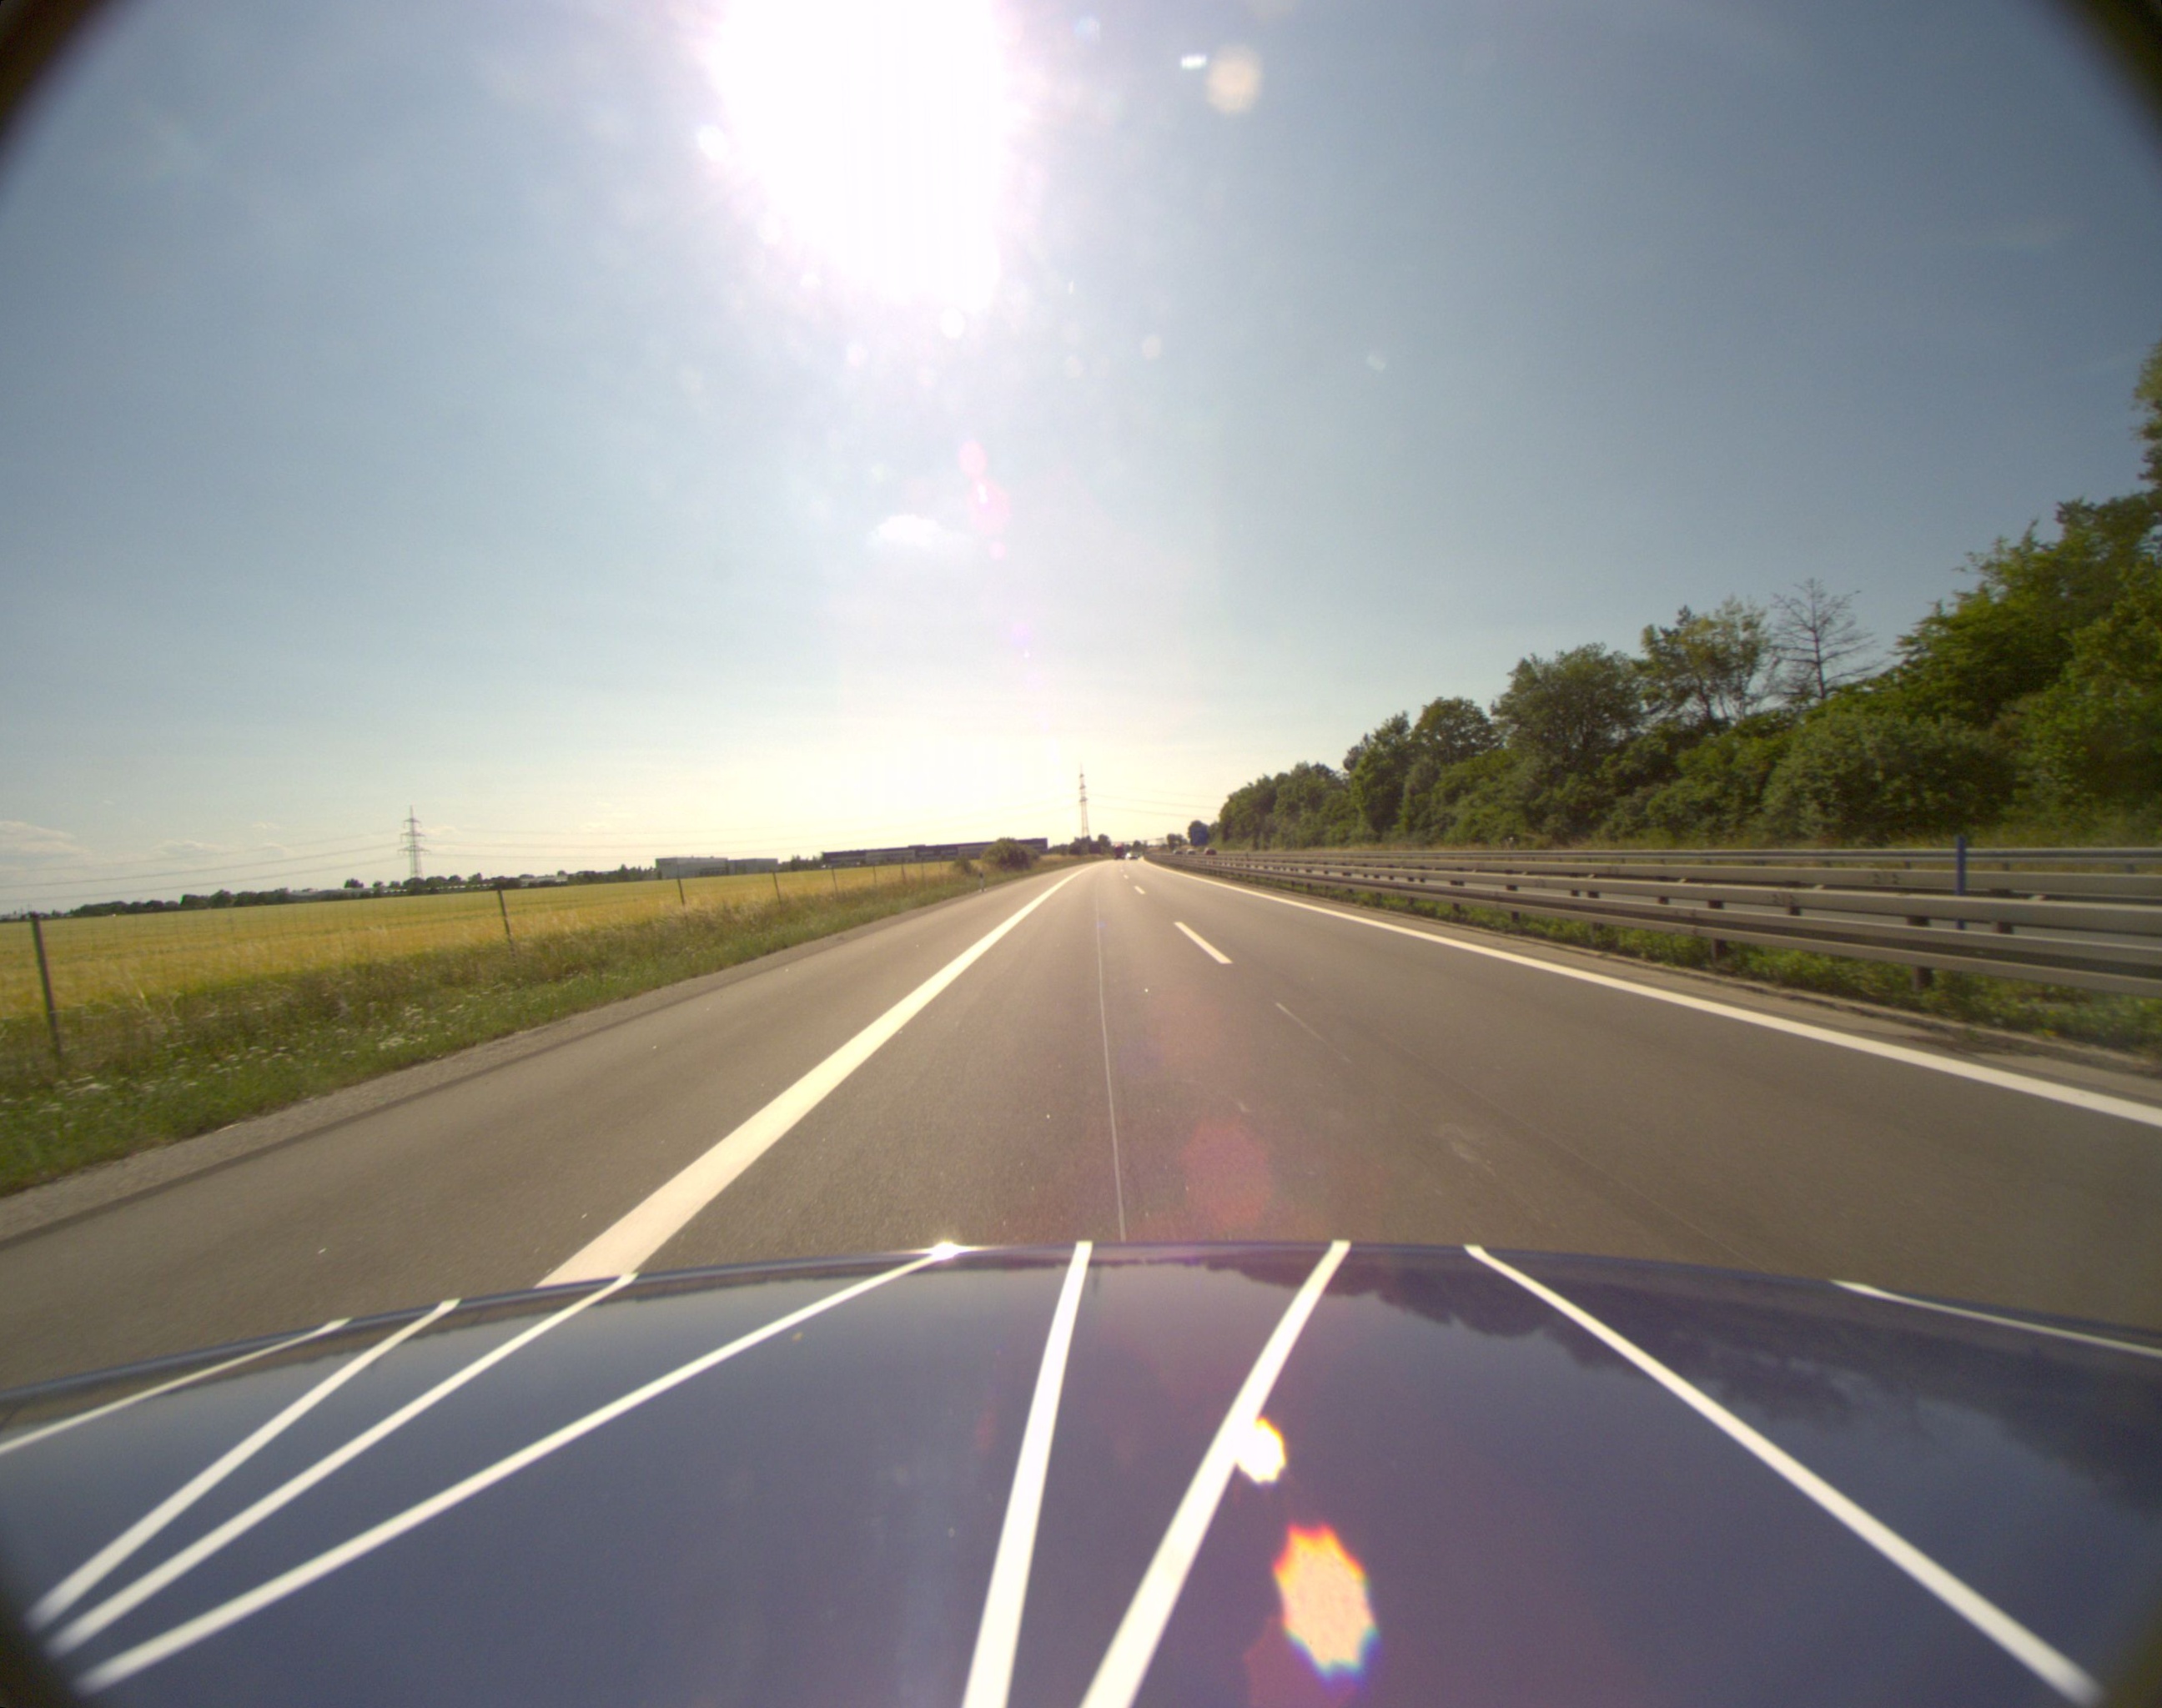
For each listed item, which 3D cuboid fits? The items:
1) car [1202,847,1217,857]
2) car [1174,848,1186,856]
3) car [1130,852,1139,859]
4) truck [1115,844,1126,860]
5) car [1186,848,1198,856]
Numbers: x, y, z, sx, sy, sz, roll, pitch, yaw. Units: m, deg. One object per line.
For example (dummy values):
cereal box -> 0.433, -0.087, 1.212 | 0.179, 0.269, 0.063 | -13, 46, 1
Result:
car -> 20.016, -0.321, 118.846 | 1.653, 1.484, 4.540 | -3, 0, 2
car -> 18.305, -0.393, 140.658 | 1.653, 1.484, 4.540 | -3, 0, 2
car -> 11.663, 0.330, 164.504 | 1.860, 1.361, 4.001 | -3, 1, 5
truck -> 10.271, -0.561, 196.893 | 2.570, 3.938, 8.645 | -5, 0, 4
car -> 22.612, -0.458, 155.142 | 1.998, 1.603, 4.637 | -3, 0, 3
